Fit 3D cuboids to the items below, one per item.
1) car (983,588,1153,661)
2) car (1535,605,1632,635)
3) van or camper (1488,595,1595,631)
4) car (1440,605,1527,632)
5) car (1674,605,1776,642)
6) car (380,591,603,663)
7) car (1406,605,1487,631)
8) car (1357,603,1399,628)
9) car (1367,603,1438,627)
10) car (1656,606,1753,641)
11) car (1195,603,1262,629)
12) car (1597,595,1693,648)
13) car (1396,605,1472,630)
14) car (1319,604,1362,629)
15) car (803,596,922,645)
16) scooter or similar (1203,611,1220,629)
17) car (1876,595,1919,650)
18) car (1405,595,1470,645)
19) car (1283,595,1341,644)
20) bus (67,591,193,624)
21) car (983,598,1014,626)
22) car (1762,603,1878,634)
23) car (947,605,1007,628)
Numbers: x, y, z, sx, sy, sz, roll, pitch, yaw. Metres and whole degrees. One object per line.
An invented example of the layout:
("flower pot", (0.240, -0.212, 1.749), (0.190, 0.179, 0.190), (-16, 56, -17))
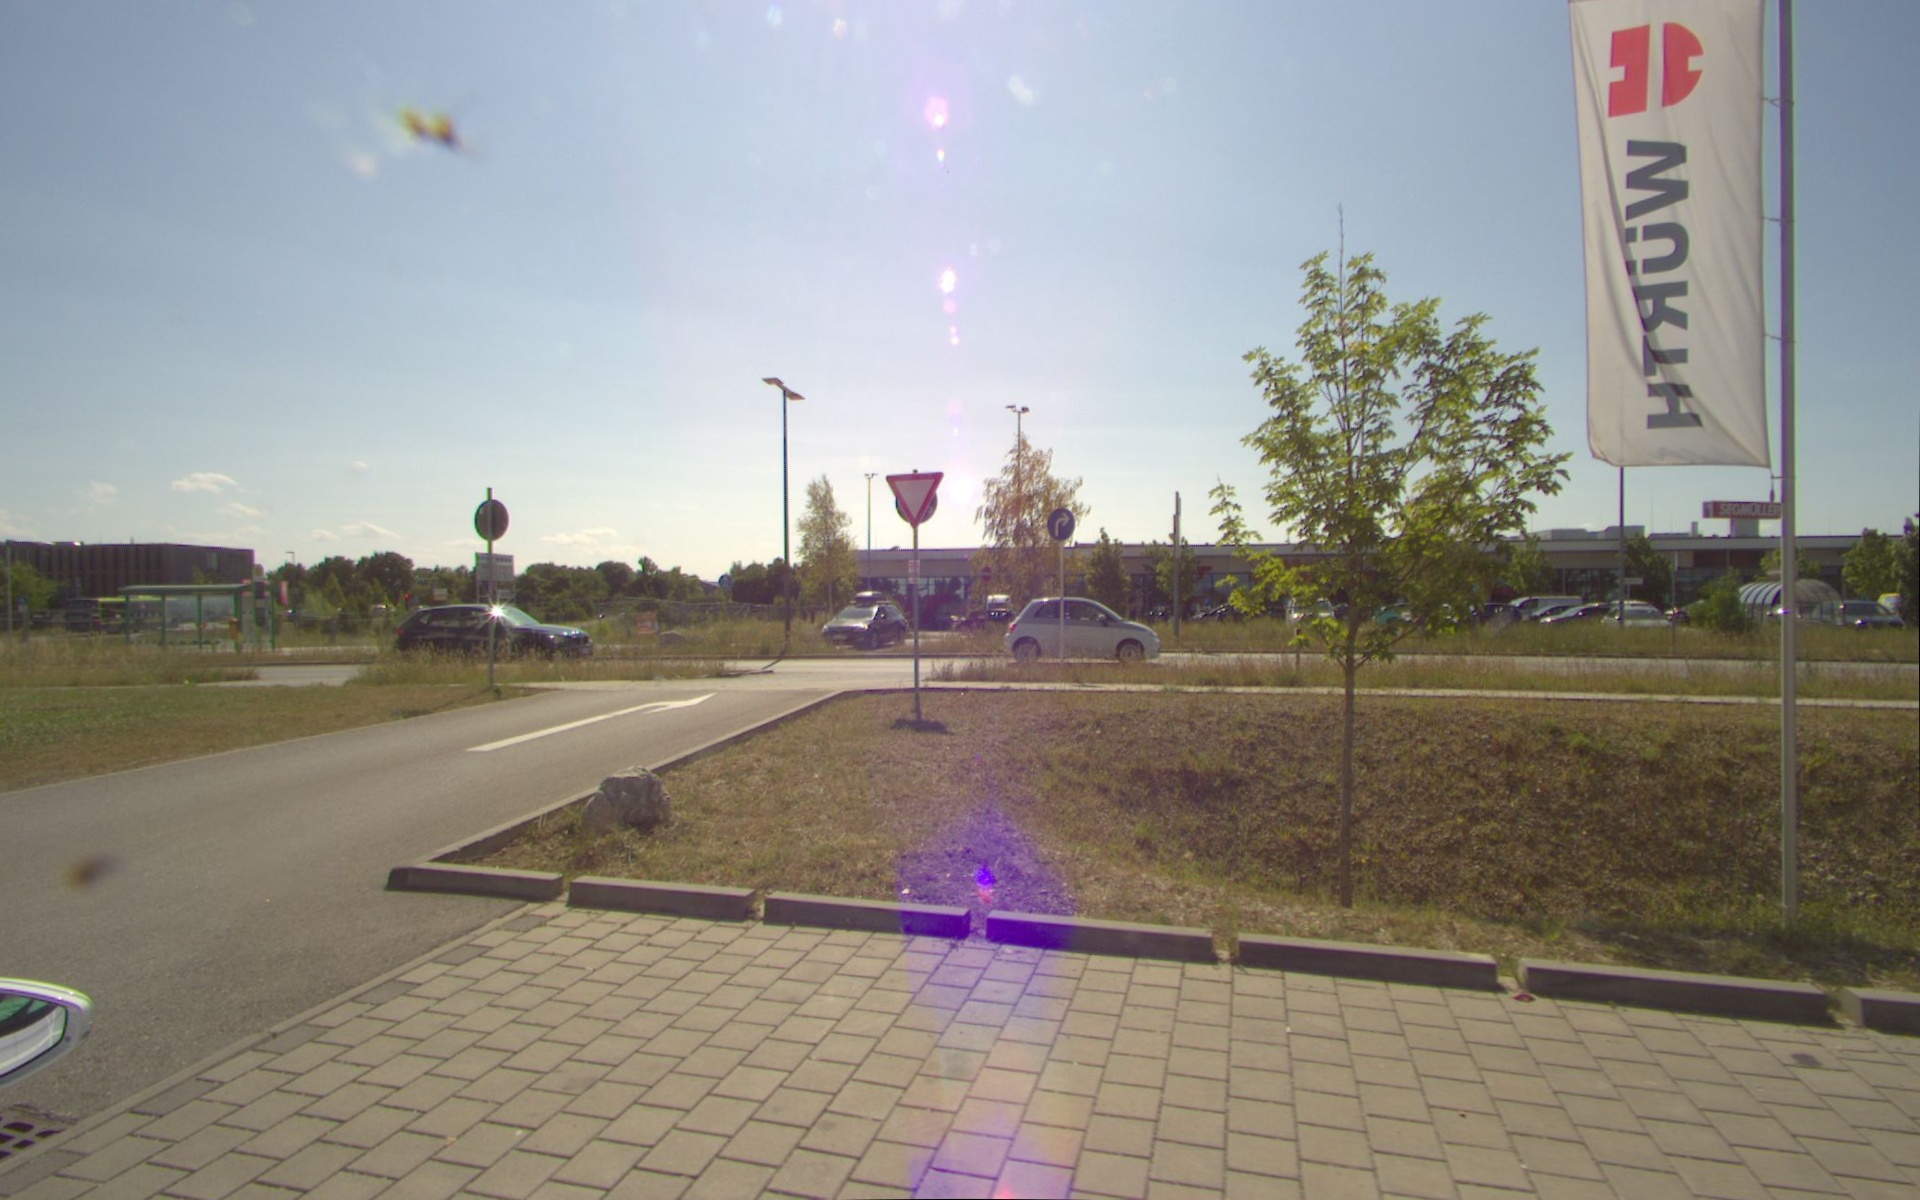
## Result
("car", (2.427, 0.551, 22.800), (3.710, 1.571, 1.741), (0, -1, 5))
("car", (32.934, 1.072, 52.957), (3.923, 1.527, 1.874), (0, -1, 9))
("van or camper", (33.788, 0.747, 58.312), (4.955, 2.040, 1.999), (0, 0, 10))
("car", (27.675, 0.964, 53.003), (3.659, 1.409, 1.732), (0, 0, 4))
("car", (45.623, 1.404, 59.809), (4.400, 2.130, 1.999), (0, -1, 12))
("car", (-10.796, 0.612, 23.272), (4.303, 1.571, 1.914), (0, -1, 4))
("car", (27.030, 0.977, 55.755), (3.659, 1.409, 1.732), (0, 0, 4))
("car", (30.026, 1.084, 72.052), (1.962, 1.729, 3.998), (0, 0, 11))
("car", (27.226, 0.924, 61.718), (3.659, 1.409, 1.732), (0, 0, 4))
("car", (46.387, 1.452, 62.442), (4.400, 2.151, 1.999), (0, -1, 12))
("car", (16.097, 0.943, 60.147), (3.733, 1.528, 1.731), (0, 0, 8))
("car", (27.972, 0.845, 41.071), (2.127, 2.040, 5.104), (0, 0, 21))
("car", (27.765, 1.021, 58.709), (3.659, 1.409, 1.732), (0, 0, 4))
("car", (27.376, 1.182, 72.161), (1.961, 1.729, 3.999), (0, 0, 6))
("car", (-3.230, 0.686, 33.921), (1.970, 1.536, 4.178), (0, -1, 30))
("scooter or similar", (14.700, 1.165, 58.631), (0.928, 1.094, 0.652), (0, 0, 12))
("car", (36.970, 0.829, 37.682), (2.129, 2.040, 5.101), (0, 0, 24))
("car", (20.687, 0.853, 43.577), (2.127, 2.040, 5.104), (0, 0, 21))
("car", (15.747, 0.850, 45.010), (2.049, 2.040, 5.223), (0, 0, 15))
("bus", (-73.002, 0.658, 88.529), (2.530, 2.771, 11.565), (0, 0, -5))
("car", (2.967, 0.901, 75.851), (2.186, 2.003, 6.696), (0, -1, 3))
("car", (44.415, 0.968, 51.786), (4.267, 1.540, 1.655), (0, -1, 10))
("car", (1.124, 1.044, 63.912), (3.770, 1.441, 1.772), (0, -1, 4))
